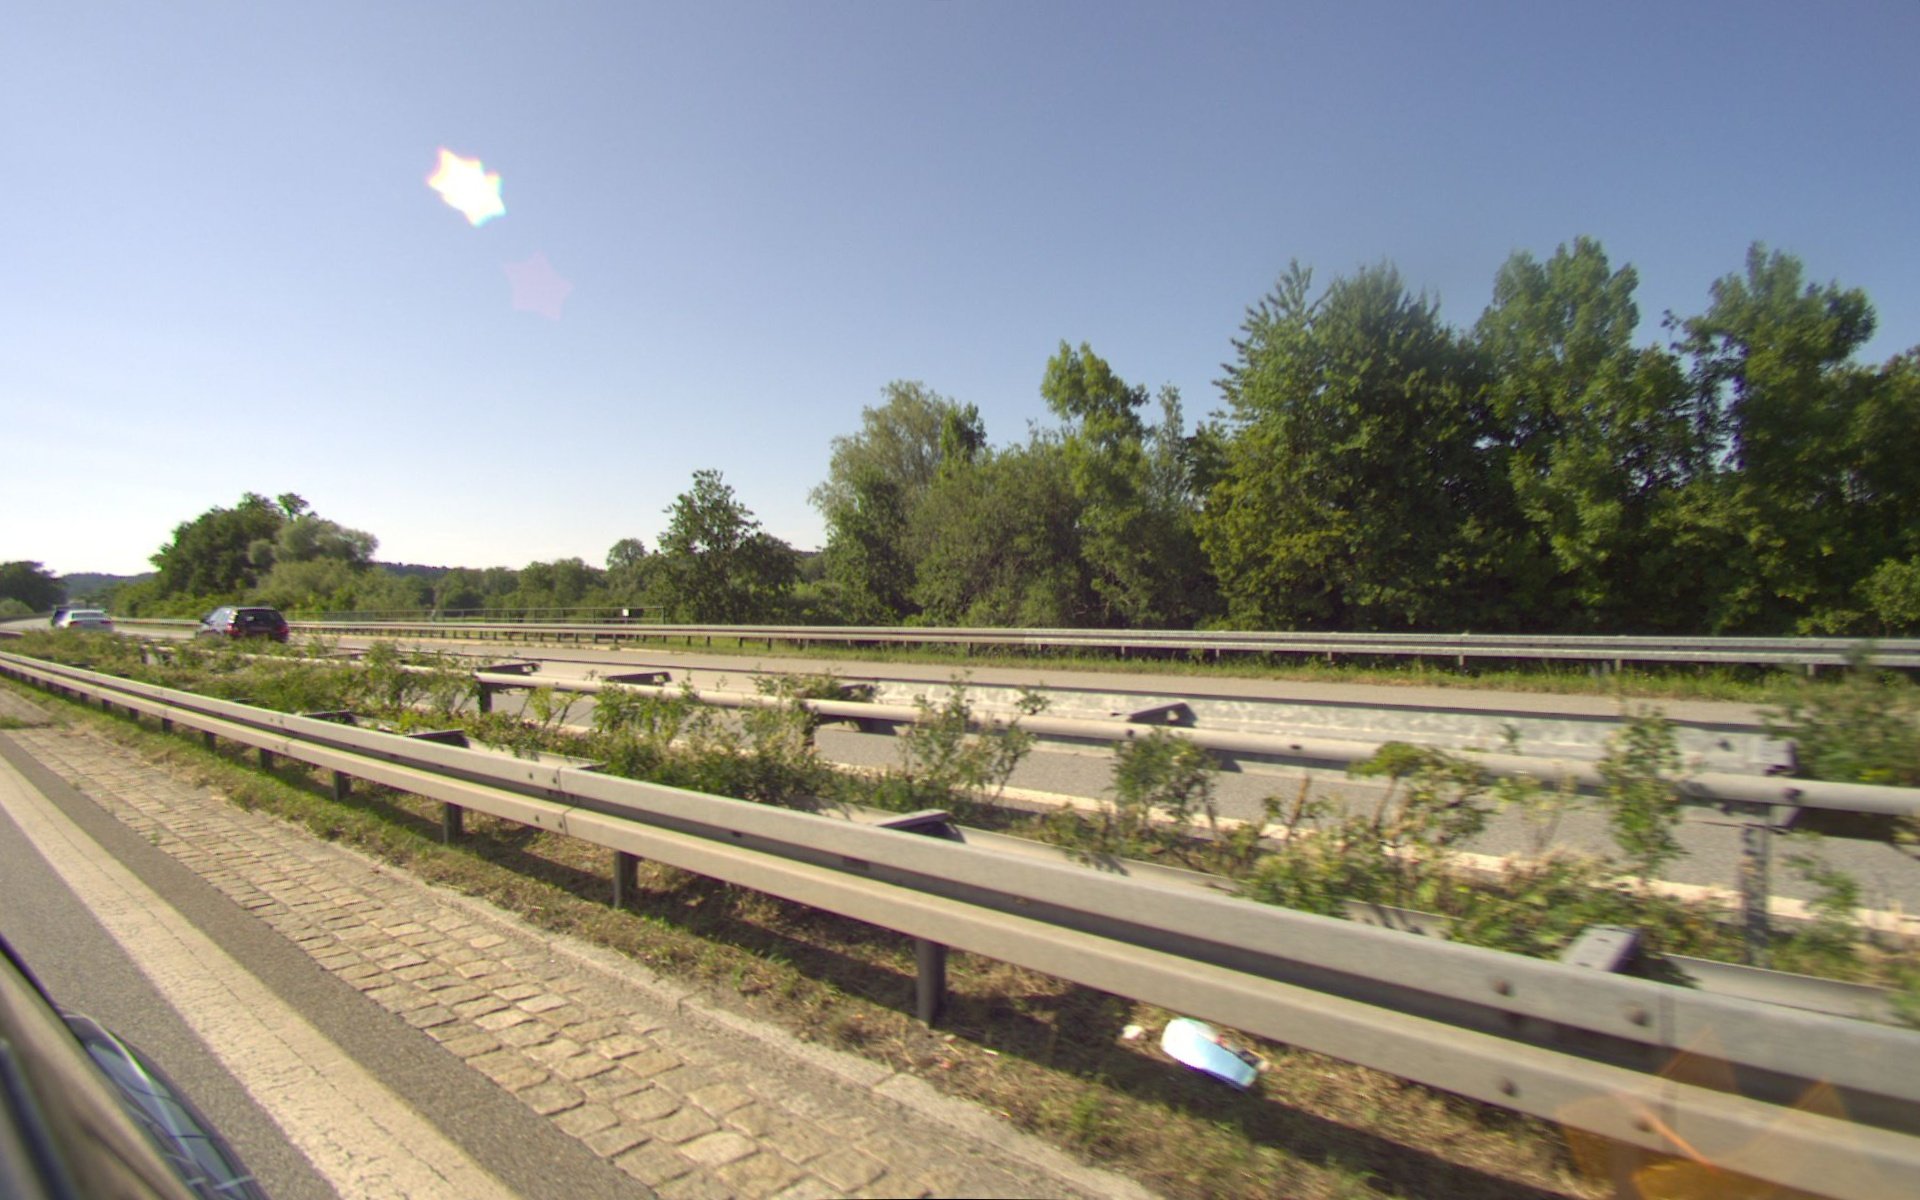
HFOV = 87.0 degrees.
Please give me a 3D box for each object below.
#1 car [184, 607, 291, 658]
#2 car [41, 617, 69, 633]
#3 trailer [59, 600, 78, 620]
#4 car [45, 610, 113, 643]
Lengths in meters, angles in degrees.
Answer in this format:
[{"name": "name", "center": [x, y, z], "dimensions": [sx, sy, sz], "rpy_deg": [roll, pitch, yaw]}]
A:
[{"name": "car", "center": [-23.103, 1.023, 32.309], "dimensions": [4.504, 1.481, 1.755], "rpy_deg": [-2, 0, 41]}, {"name": "car", "center": [-98.797, 2.693, 110.496], "dimensions": [1.971, 1.692, 5.320], "rpy_deg": [1, -2, -45]}, {"name": "trailer", "center": [-168.851, 1.903, 191.746], "dimensions": [2.707, 3.755, 10.928], "rpy_deg": [0, -1, -41]}, {"name": "car", "center": [-41.659, 1.242, 47.807], "dimensions": [4.647, 1.445, 1.802], "rpy_deg": [-2, 0, 41]}]
